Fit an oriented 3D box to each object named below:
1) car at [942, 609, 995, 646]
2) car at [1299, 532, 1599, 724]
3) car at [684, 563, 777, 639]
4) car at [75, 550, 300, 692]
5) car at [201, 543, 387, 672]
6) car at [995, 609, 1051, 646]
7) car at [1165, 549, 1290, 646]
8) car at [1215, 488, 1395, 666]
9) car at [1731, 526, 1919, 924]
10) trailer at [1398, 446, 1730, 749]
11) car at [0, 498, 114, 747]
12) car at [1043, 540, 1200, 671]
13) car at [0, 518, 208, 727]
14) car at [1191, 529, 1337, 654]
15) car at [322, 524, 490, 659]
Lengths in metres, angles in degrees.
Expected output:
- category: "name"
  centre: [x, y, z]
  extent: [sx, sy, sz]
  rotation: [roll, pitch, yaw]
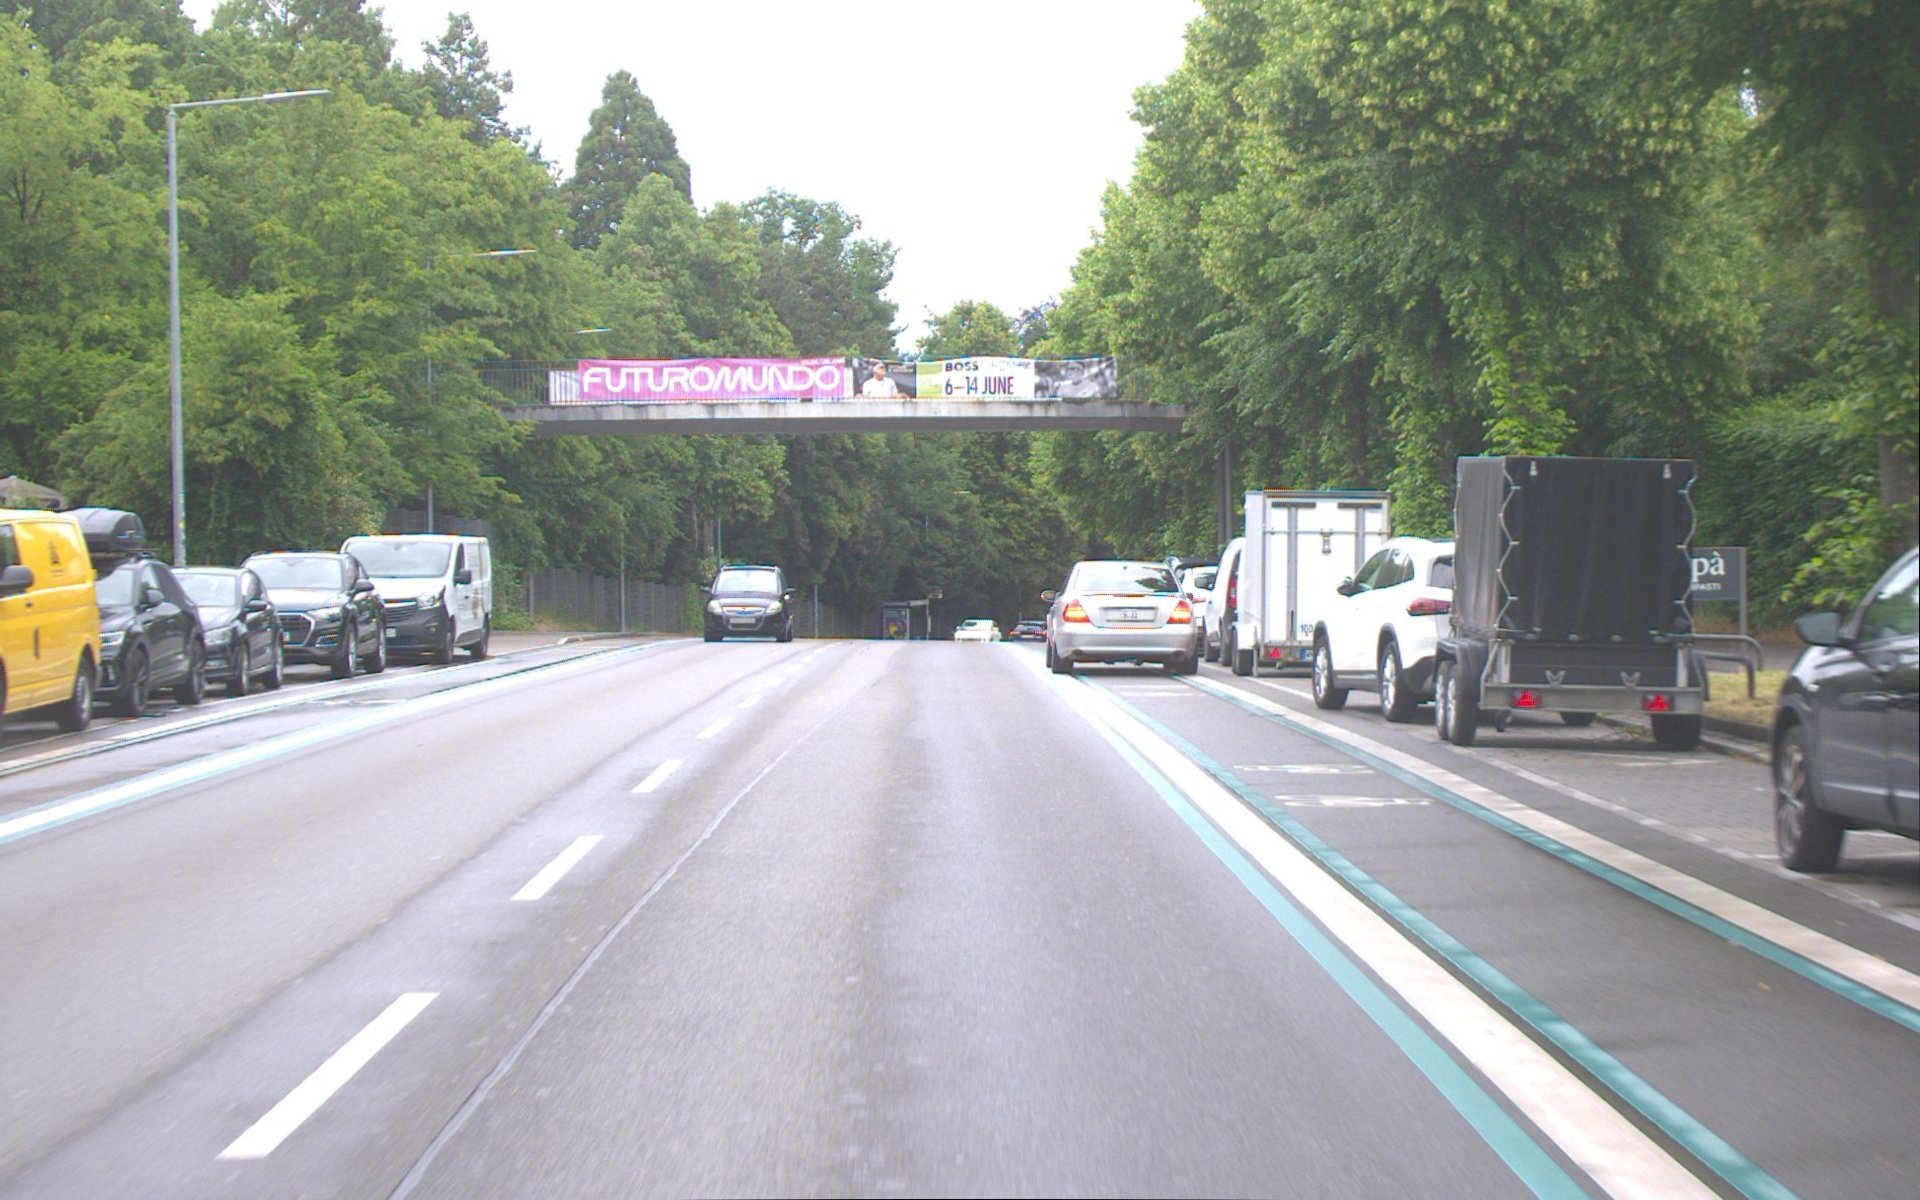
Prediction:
- category: "car"
  centre: [0.406, 1.284, 161.899]
  extent: [1.991, 1.600, 4.053]
  rotation: [0, 1, 7]
- category: "car"
  centre: [4.286, 0.192, 30.729]
  extent: [1.730, 1.578, 4.155]
  rotation: [-1, 1, -5]
- category: "car"
  centre: [-4.770, 0.001, 71.639]
  extent: [1.869, 1.468, 4.055]
  rotation: [-1, 1, -3]
- category: "car"
  centre: [-8.755, 0.198, 39.269]
  extent: [1.885, 1.446, 3.983]
  rotation: [0, 2, -3]
- category: "car"
  centre: [-8.693, 0.064, 45.187]
  extent: [1.870, 1.536, 4.055]
  rotation: [0, 2, -3]
- category: "car"
  centre: [2.823, 1.214, 153.126]
  extent: [2.140, 1.487, 4.498]
  rotation: [0, 2, 6]
- category: "car"
  centre: [4.276, -0.069, 55.484]
  extent: [1.731, 1.457, 4.045]
  rotation: [0, 1, 1]
- category: "car"
  centre: [4.290, -0.313, 43.286]
  extent: [1.889, 2.120, 4.045]
  rotation: [0, 1, 1]
- category: "car"
  centre: [4.661, 0.501, 14.417]
  extent: [1.731, 1.578, 4.155]
  rotation: [1, 1, -2]
- category: "trailer"
  centre: [4.584, -0.056, 26.611]
  extent: [1.884, 2.158, 3.808]
  rotation: [0, 1, 0]
- category: "car"
  centre: [-8.534, 0.133, 28.683]
  extent: [1.882, 1.938, 4.827]
  rotation: [0, 2, -2]
- category: "car"
  centre: [2.019, 0.030, 43.893]
  extent: [1.731, 1.578, 4.037]
  rotation: [-1, 1, -1]
- category: "car"
  centre: [-8.780, 0.165, 33.764]
  extent: [1.990, 1.886, 4.055]
  rotation: [0, 2, -1]
- category: "car"
  centre: [4.263, -0.151, 48.626]
  extent: [1.731, 1.678, 4.045]
  rotation: [0, 1, 1]
- category: "car"
  centre: [-8.430, -0.170, 52.628]
  extent: [1.757, 1.925, 4.193]
  rotation: [0, 2, 2]
